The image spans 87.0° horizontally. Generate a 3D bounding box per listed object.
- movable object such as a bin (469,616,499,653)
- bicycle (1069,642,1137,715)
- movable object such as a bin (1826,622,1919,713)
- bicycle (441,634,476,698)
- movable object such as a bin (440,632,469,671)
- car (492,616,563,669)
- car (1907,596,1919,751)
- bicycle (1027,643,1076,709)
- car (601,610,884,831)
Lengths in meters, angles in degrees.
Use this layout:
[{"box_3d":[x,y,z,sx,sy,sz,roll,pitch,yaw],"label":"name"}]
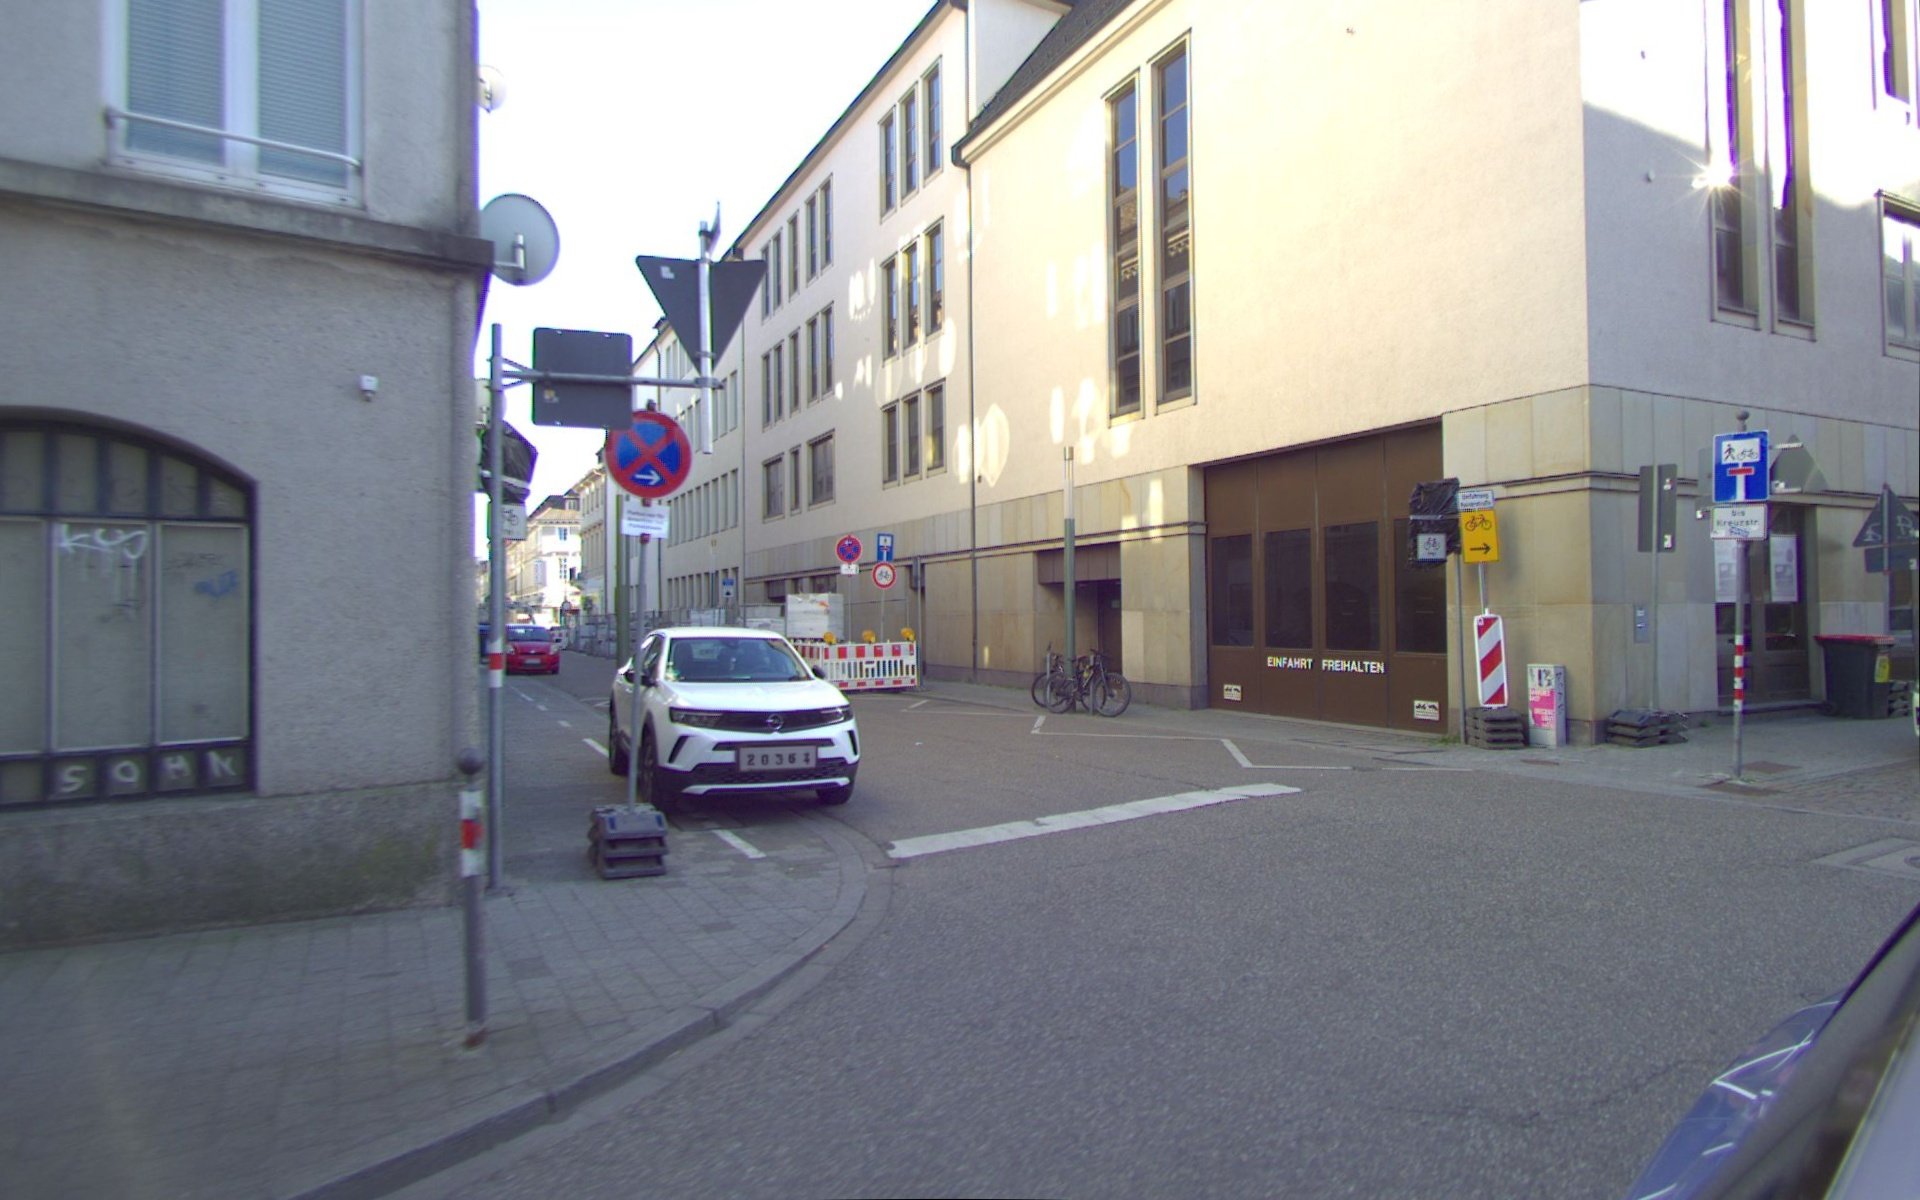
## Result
[{"box_3d":[-18.470,1.321,39.268,1.031,1.408,2.003,0,-1,-26],"label":"movable object such as a bin"},{"box_3d":[2.287,1.235,16.336,0.477,1.087,1.655,-1,-1,-14],"label":"bicycle"},{"box_3d":[11.746,0.847,12.950,0.910,1.100,0.689,0,-2,-27],"label":"movable object such as a bin"},{"box_3d":[-9.719,1.245,19.599,0.423,1.159,1.591,0,-1,-33],"label":"bicycle"},{"box_3d":[-14.286,1.451,28.617,0.676,1.088,0.450,2,-2,-30],"label":"movable object such as a bin"},{"box_3d":[-13.451,1.256,31.379,1.878,1.497,3.808,-1,-1,-26],"label":"car"},{"box_3d":[11.799,0.708,10.467,3.919,1.568,1.738,0,-2,-28],"label":"car"},{"box_3d":[1.523,1.254,17.031,0.461,1.021,1.424,-1,-1,-9],"label":"bicycle"},{"box_3d":[-2.287,0.924,9.658,1.731,1.588,4.088,-1,-1,-25],"label":"car"}]
